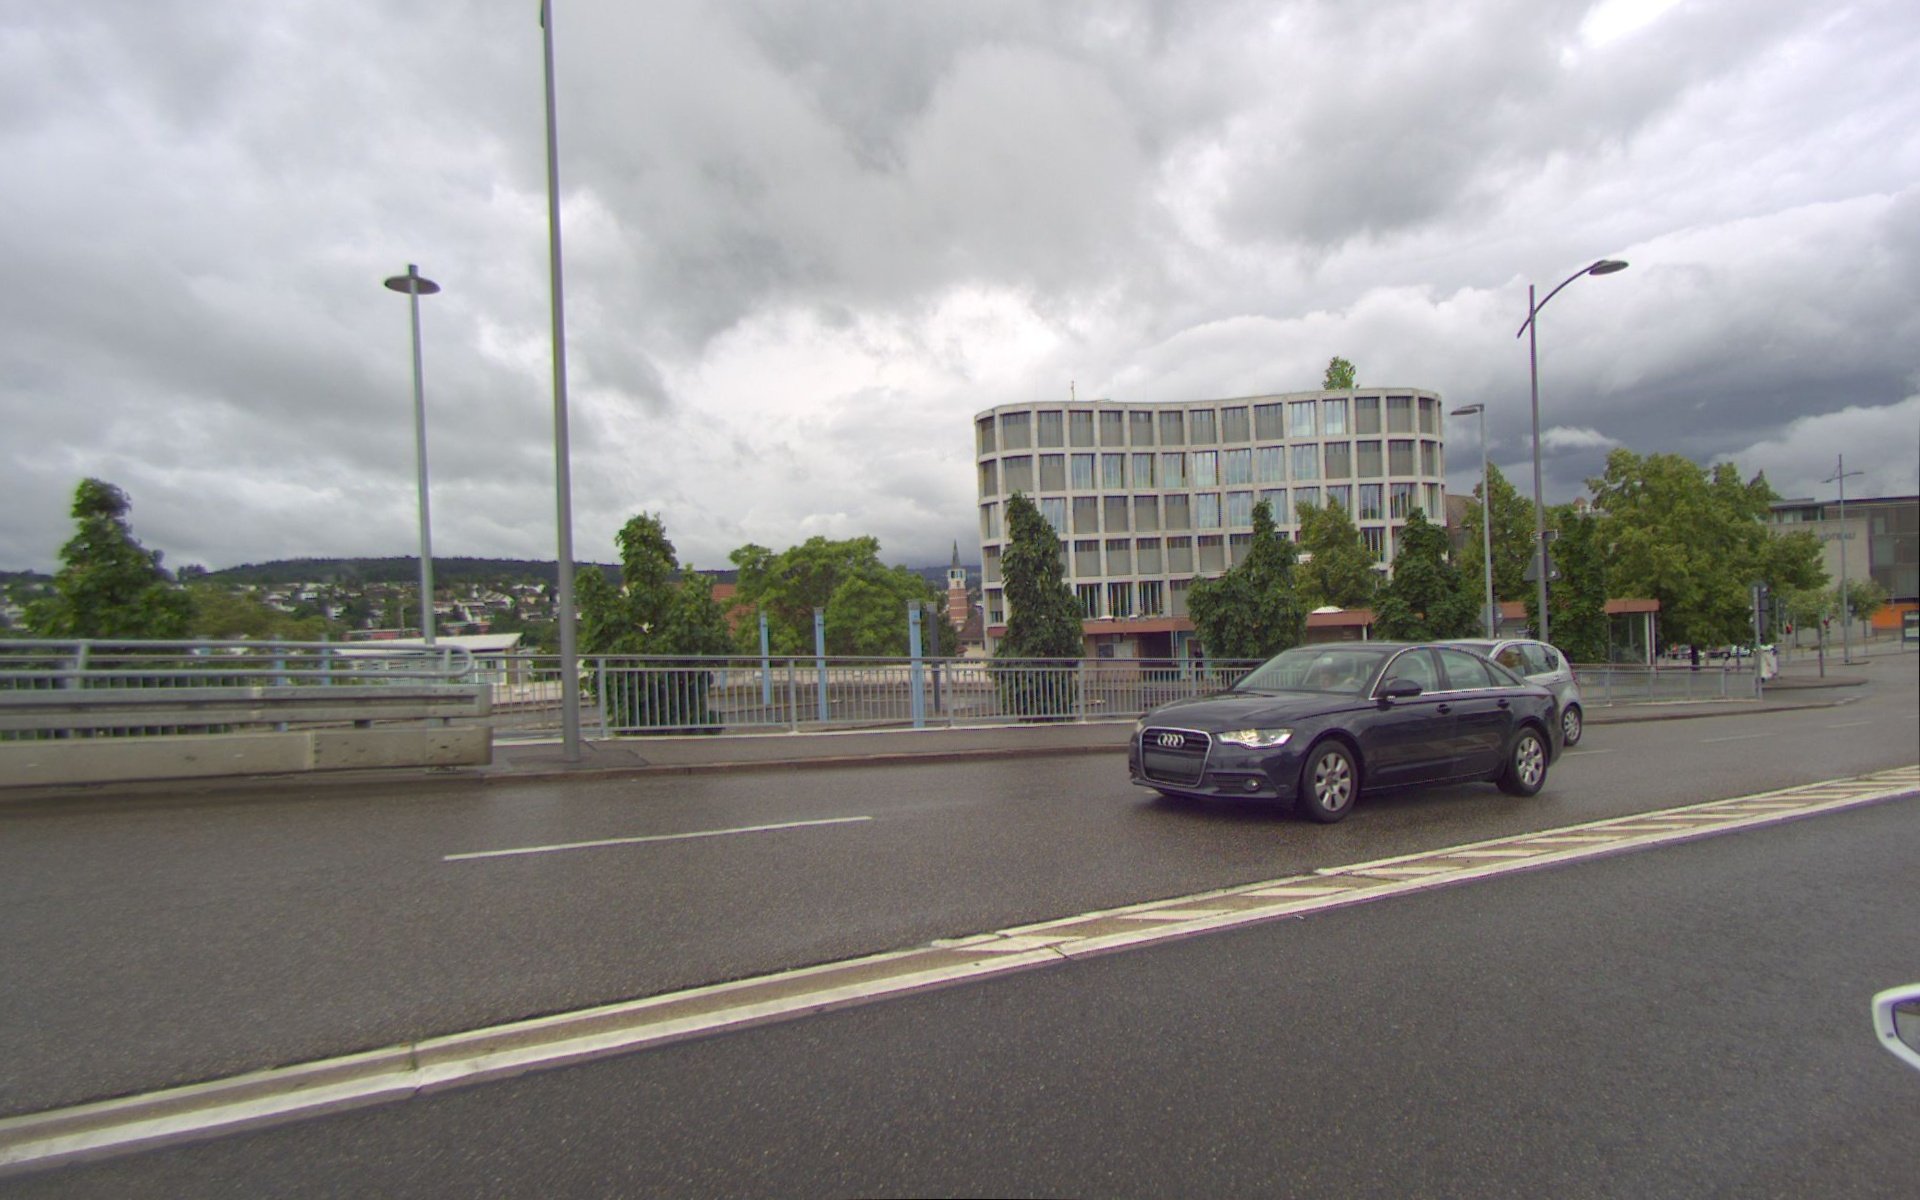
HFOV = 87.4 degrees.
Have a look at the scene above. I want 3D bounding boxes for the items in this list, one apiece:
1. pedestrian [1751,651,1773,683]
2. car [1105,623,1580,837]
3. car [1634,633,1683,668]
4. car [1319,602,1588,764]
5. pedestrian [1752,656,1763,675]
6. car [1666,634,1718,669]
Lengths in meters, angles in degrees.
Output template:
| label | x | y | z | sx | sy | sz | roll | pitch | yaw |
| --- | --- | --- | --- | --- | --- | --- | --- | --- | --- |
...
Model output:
| label | x | y | z | sx | sy | sz | roll | pitch | yaw |
| --- | --- | --- | --- | --- | --- | --- | --- | --- | --- |
| pedestrian | 37.851 | 3.157 | 47.411 | 0.524 | 1.427 | 0.646 | -1 | -1 | -27 |
| car | 3.653 | 1.033 | 9.299 | 4.546 | 1.546 | 1.822 | 2 | -3 | -34 |
| car | 49.339 | 3.524 | 71.052 | 1.962 | 2.041 | 3.997 | 3 | 3 | 23 |
| car | 7.262 | 1.124 | 14.682 | 3.964 | 2.040 | 1.979 | 2 | -3 | -38 |
| pedestrian | 37.709 | 3.086 | 47.511 | 0.294 | 0.885 | 0.300 | -1 | -1 | -27 |
| car | 51.214 | 3.584 | 70.337 | 1.962 | 2.041 | 3.997 | 3 | 3 | 23 |
